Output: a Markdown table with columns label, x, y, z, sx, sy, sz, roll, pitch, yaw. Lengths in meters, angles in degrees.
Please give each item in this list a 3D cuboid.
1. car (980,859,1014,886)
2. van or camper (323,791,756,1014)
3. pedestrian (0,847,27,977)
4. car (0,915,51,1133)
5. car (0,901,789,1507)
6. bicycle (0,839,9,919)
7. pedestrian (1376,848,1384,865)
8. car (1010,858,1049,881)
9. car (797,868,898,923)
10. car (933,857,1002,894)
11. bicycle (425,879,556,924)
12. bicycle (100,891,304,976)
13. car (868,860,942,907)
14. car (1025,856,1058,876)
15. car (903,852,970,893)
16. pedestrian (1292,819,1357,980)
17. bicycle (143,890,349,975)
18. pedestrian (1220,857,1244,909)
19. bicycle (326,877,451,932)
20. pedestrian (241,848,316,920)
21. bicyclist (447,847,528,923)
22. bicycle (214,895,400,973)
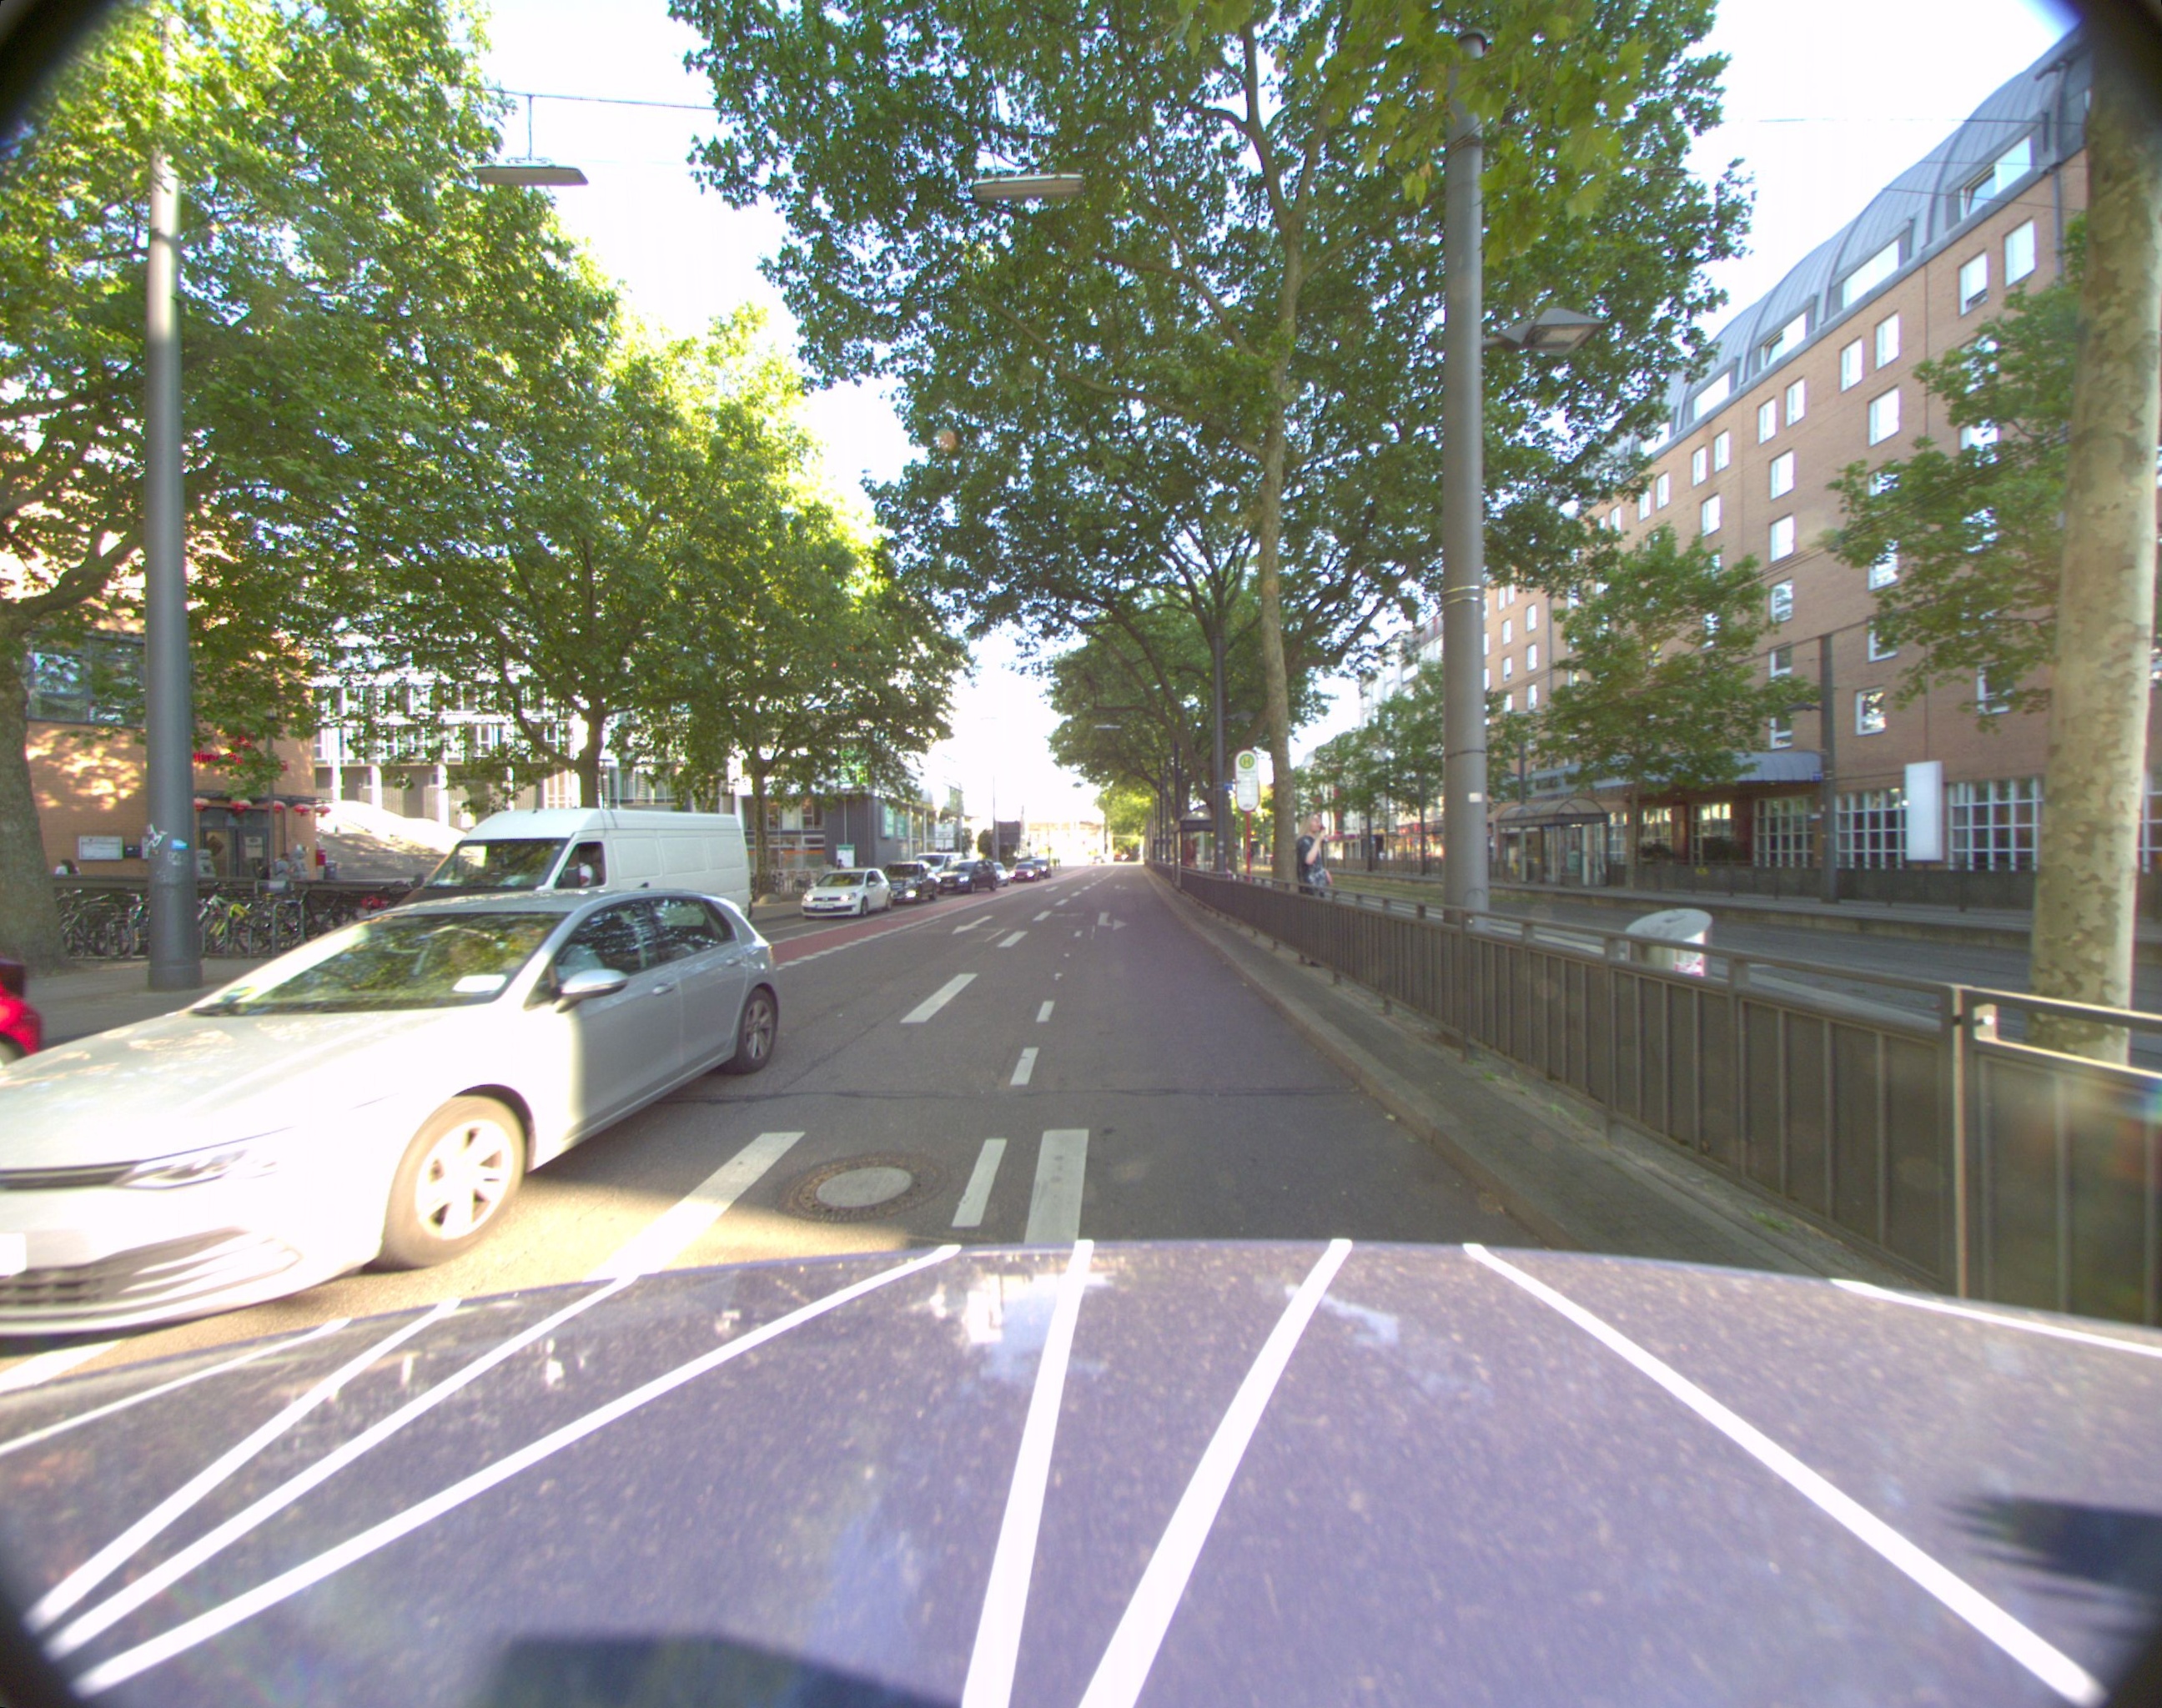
| label | x | y | z | sx | sy | sz | roll | pitch | yaw |
| --- | --- | --- | --- | --- | --- | --- | --- | --- | --- |
| car | -5.084 | 1.101 | 46.531 | 1.836 | 1.481 | 4.193 | -2 | 0 | -4 |
| van or camper | -7.739 | 0.573 | 12.151 | 2.004 | 2.599 | 6.499 | -1 | 0 | 3 |
| pedestrian | -17.083 | 0.895 | 11.465 | 0.934 | 2.002 | 1.091 | -1 | 1 | -25 |
| car | -8.079 | 1.178 | 3.569 | 1.494 | 1.451 | 3.597 | -2 | 0 | 1 |
| car | -3.308 | 1.086 | 4.065 | 1.752 | 1.410 | 4.001 | -2 | -1 | 3 |
| bicycle | -13.265 | 0.330 | 7.723 | 0.925 | 0.943 | 2.637 | -2 | 1 | 1 |
| pedestrian | 30.570 | 0.297 | 77.688 | 0.504 | 1.725 | 0.574 | -1 | 1 | 3 |
| car | -3.705 | 1.068 | 55.360 | 1.834 | 1.481 | 4.198 | -3 | 0 | 10 |
| car | -7.022 | 1.203 | 23.272 | 1.639 | 1.420 | 3.987 | -2 | 0 | 3 |
| car | -5.445 | 1.005 | 36.951 | 1.708 | 1.626 | 4.395 | -2 | 0 | 14 |
| bicycle | -16.258 | 1.271 | 20.929 | 3.328 | 1.077 | 1.150 | 0 | 1 | 18 |
| bicycle | -14.871 | 1.295 | 12.991 | 0.671 | 1.155 | 2.305 | -2 | 1 | 3 |
| car | -6.733 | 1.082 | 29.584 | 1.769 | 1.626 | 4.250 | -2 | 0 | 1 |
| car | -3.289 | 1.006 | 63.478 | 1.784 | 1.481 | 4.198 | -3 | 0 | 10 |
| car | -7.474 | 0.892 | 40.009 | 1.932 | 1.953 | 5.920 | -2 | 0 | 4 |
| pedestrian | 2.859 | 0.524 | 8.966 | 0.543 | 1.823 | 0.524 | -2 | 1 | 1 |
| bicycle | -14.081 | 1.270 | 12.960 | 0.751 | 1.155 | 2.398 | -2 | 1 | 2 |
| pedestrian | 3.911 | 0.738 | 19.612 | 0.542 | 1.310 | 0.524 | -2 | 1 | 12 |
| bicycle | -17.850 | 1.262 | 19.717 | 0.699 | 1.193 | 2.700 | -2 | 1 | 1 |
| pedestrian | -22.926 | 0.841 | 21.728 | 1.013 | 2.002 | 1.016 | -2 | 1 | 12 |
| bicyclist | -16.325 | 0.837 | 20.930 | 1.296 | 2.002 | 1.158 | -1 | 1 | 17 |
| bicycle | -12.999 | 1.298 | 12.900 | 0.682 | 1.054 | 2.337 | -1 | 1 | 2 |
